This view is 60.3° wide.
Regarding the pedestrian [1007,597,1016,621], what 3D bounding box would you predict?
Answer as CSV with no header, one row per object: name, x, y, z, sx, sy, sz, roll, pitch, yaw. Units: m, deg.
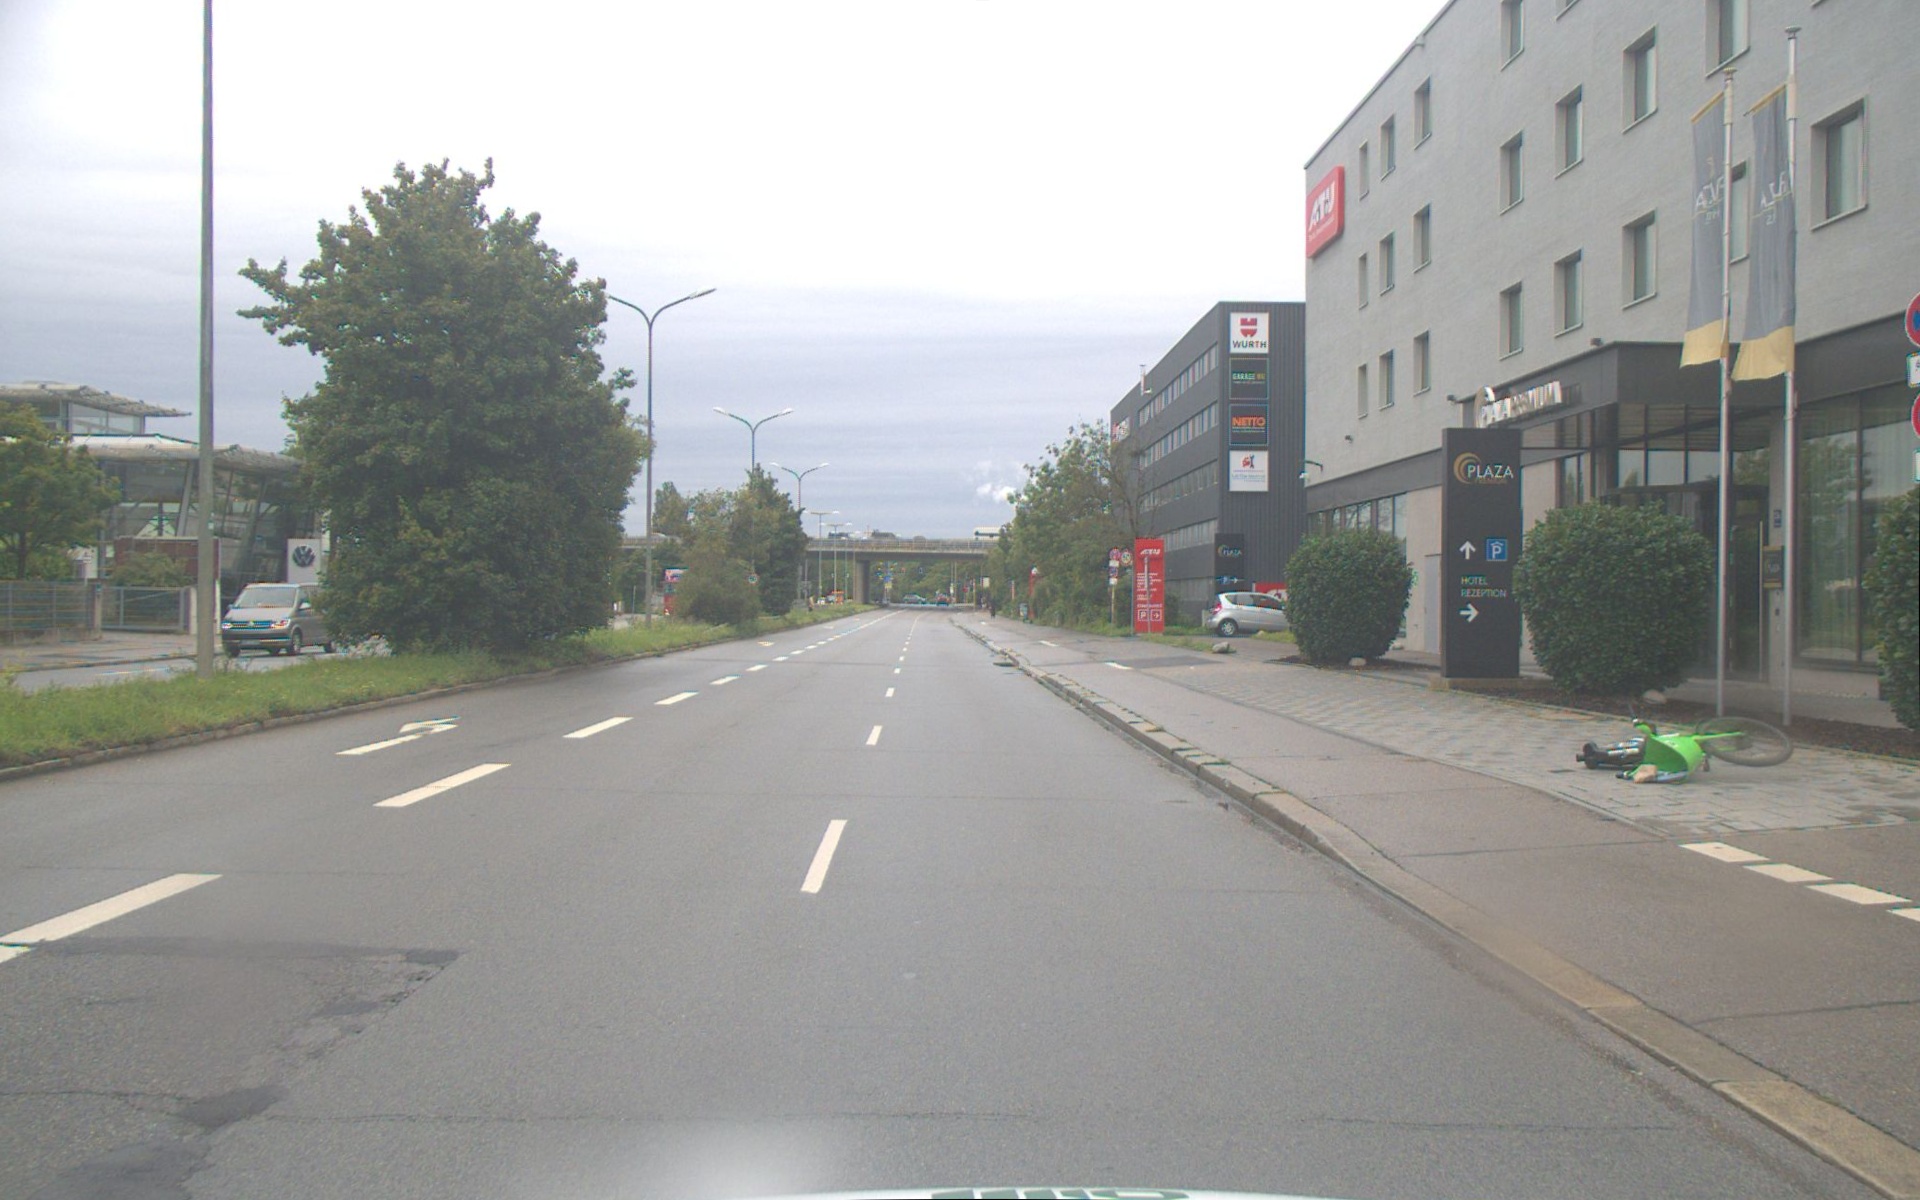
pedestrian,4.133,0.759,133.622,0.675,1.909,0.662,-1,0,-2

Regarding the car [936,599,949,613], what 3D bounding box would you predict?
car,-2.630,0.887,248.986,1.775,2.049,3.833,1,0,0

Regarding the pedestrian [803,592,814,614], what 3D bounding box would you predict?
pedestrian,-11.263,0.211,122.870,0.646,1.645,0.691,-1,0,3

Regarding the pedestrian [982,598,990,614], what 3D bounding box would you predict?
pedestrian,2.685,0.644,170.479,0.675,1.645,0.662,-1,0,-2

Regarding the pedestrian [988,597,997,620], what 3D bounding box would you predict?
pedestrian,2.808,0.729,143.644,0.675,1.909,0.662,-1,0,-2

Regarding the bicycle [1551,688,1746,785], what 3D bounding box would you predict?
bicycle,5.221,1.018,12.653,0.705,0.558,1.732,-3,0,-2

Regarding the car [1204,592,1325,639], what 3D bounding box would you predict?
car,10.811,0.543,58.841,3.931,1.585,1.820,1,0,-1

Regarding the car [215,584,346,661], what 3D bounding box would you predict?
car,-18.693,0.592,45.721,1.954,1.995,4.322,-1,0,-3
